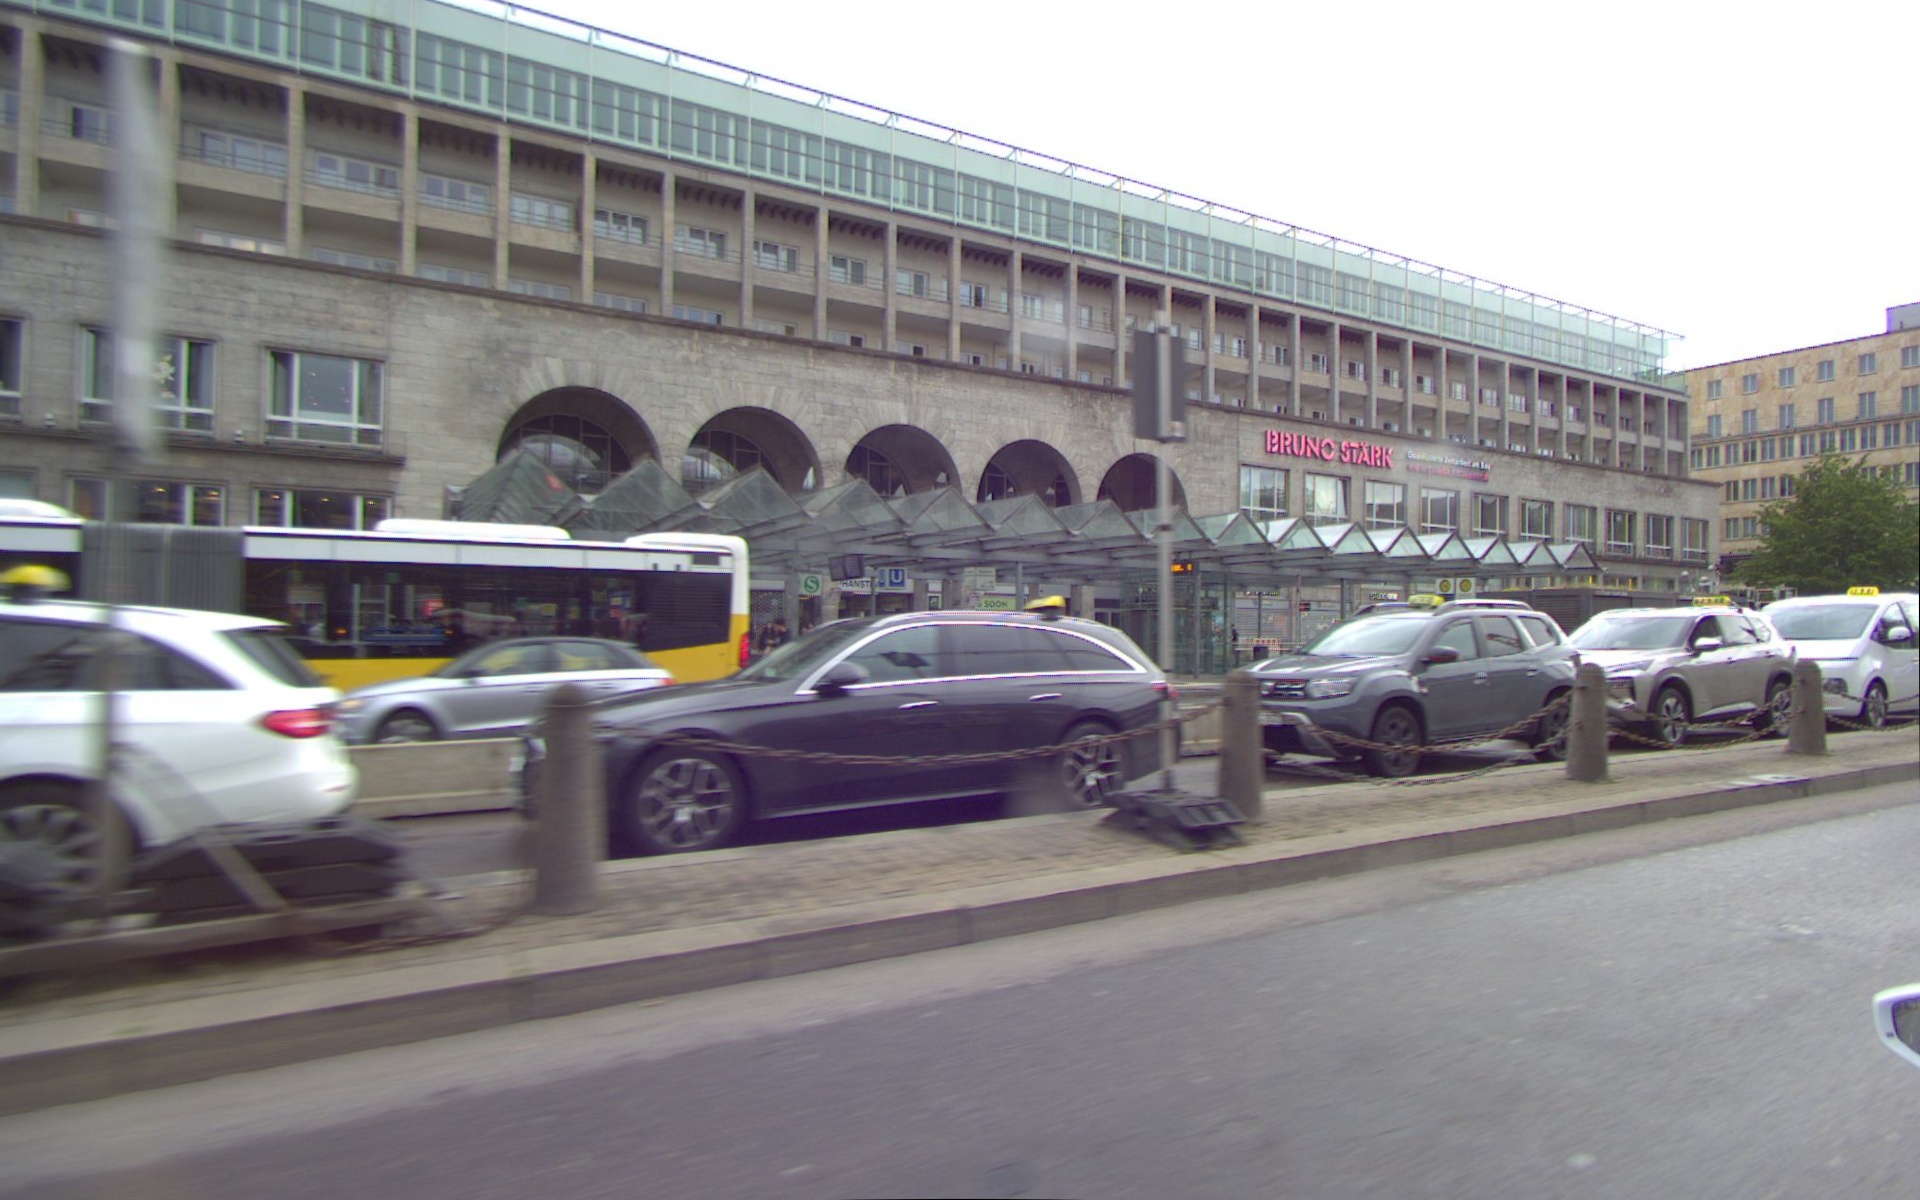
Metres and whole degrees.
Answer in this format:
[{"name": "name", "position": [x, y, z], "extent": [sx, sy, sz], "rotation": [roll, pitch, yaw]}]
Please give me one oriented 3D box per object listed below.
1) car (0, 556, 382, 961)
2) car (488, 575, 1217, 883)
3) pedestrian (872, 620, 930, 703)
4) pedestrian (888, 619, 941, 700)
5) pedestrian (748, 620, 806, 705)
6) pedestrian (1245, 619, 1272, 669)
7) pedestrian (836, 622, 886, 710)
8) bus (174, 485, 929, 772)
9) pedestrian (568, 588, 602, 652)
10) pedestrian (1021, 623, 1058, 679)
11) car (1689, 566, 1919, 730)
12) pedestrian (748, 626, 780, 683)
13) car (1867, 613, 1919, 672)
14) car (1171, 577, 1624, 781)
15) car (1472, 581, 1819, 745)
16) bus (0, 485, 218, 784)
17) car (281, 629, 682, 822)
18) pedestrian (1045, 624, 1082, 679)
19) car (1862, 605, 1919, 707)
[{"name": "car", "position": [-5.516, 0.669, 4.406], "extent": [5.133, 1.681, 1.967], "rotation": [1, -3, -31]}, {"name": "car", "position": [-0.617, 0.761, 7.366], "extent": [4.994, 1.597, 1.920], "rotation": [1, -3, -31]}, {"name": "pedestrian", "position": [-1.245, 1.272, 21.151], "extent": [1.013, 1.689, 0.736], "rotation": [0, 1, -28]}, {"name": "pedestrian", "position": [-1.055, 1.368, 23.397], "extent": [1.013, 1.832, 0.736], "rotation": [0, 1, -28]}, {"name": "pedestrian", "position": [-3.772, 1.256, 20.686], "extent": [1.013, 1.689, 0.626], "rotation": [0, 1, -28]}, {"name": "pedestrian", "position": [12.597, 1.843, 42.408], "extent": [0.761, 2.068, 0.801], "rotation": [1, -1, -27]}, {"name": "pedestrian", "position": [-2.055, 1.337, 20.756], "extent": [0.845, 1.748, 0.621], "rotation": [0, 1, -29]}, {"name": "bus", "position": [-5.766, 0.438, 16.158], "extent": [10.447, 3.505, 2.864], "rotation": [1, -1, -30]}, {"name": "pedestrian", "position": [-9.544, 0.494, 25.552], "extent": [0.747, 1.588, 0.627], "rotation": [0, 1, -28]}, {"name": "pedestrian", "position": [2.460, 1.574, 31.105], "extent": [0.882, 1.677, 0.753], "rotation": [0, 1, -27]}, {"name": "car", "position": [13.955, 0.708, 15.741], "extent": [5.476, 2.207, 1.985], "rotation": [1, -1, -29]}, {"name": "pedestrian", "position": [-5.706, 1.573, 29.247], "extent": [0.747, 1.588, 0.627], "rotation": [0, 1, -28]}, {"name": "car", "position": [27.194, 1.172, 27.909], "extent": [3.956, 1.572, 1.983], "rotation": [1, -2, -32]}, {"name": "car", "position": [4.689, 0.752, 10.561], "extent": [4.829, 1.721, 1.920], "rotation": [1, -3, -31]}, {"name": "car", "position": [9.025, 0.787, 13.165], "extent": [4.526, 1.830, 1.922], "rotation": [1, -3, -29]}, {"name": "bus", "position": [-14.788, 0.376, 10.928], "extent": [10.447, 3.421, 2.864], "rotation": [1, -2, -30]}, {"name": "car", "position": [-5.651, 1.325, 12.099], "extent": [4.073, 1.853, 1.983], "rotation": [0, 1, -31]}, {"name": "pedestrian", "position": [3.245, 1.590, 31.518], "extent": [0.882, 1.677, 0.753], "rotation": [0, 1, -27]}, {"name": "car", "position": [18.631, 0.982, 18.179], "extent": [4.722, 1.745, 1.985], "rotation": [1, -1, -28]}]
